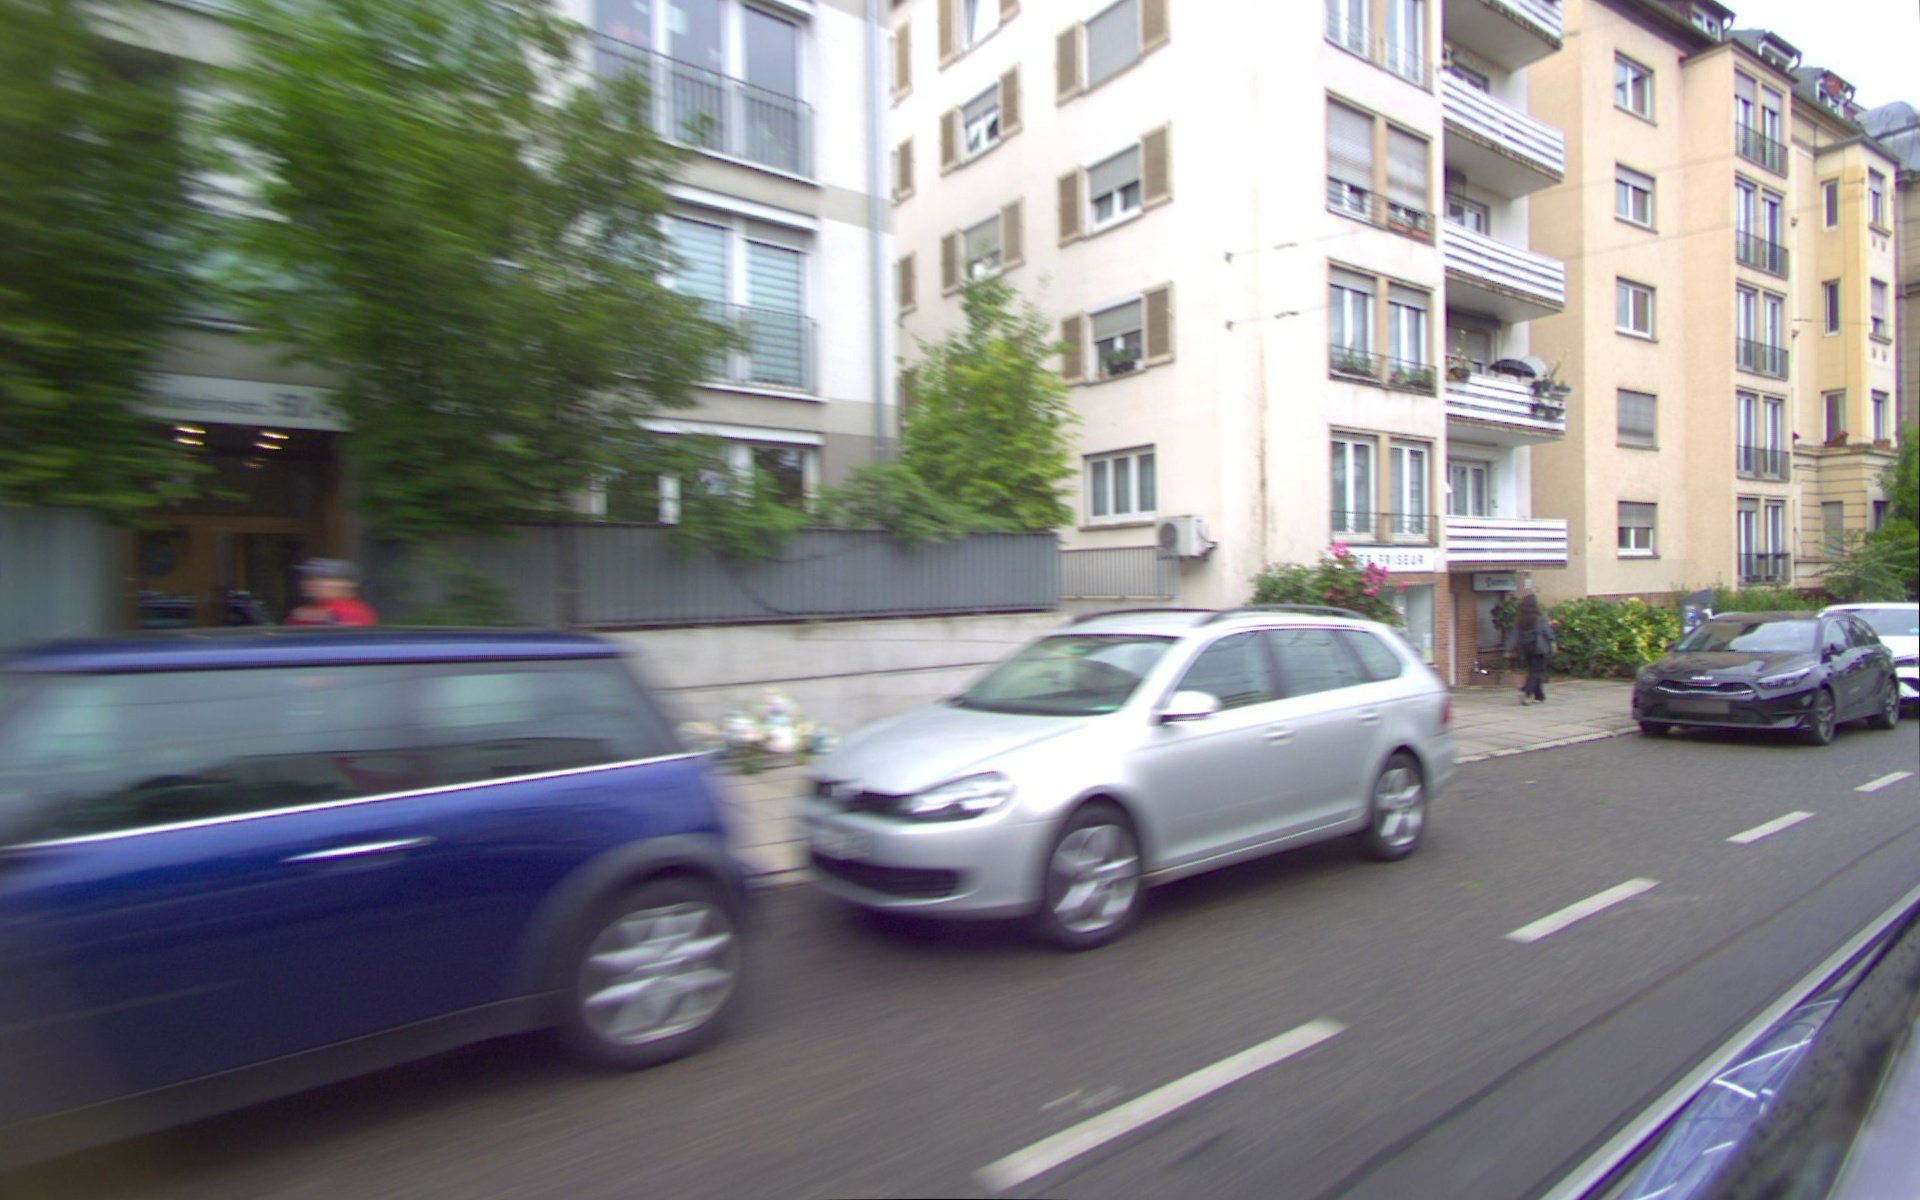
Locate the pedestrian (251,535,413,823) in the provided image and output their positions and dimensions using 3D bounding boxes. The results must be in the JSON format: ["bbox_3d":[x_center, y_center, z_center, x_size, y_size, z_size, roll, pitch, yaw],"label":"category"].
[{"bbox_3d":[-3.724,0.434,6.024,0.575,1.606,0.566,1,0,19],"label":"pedestrian"}]

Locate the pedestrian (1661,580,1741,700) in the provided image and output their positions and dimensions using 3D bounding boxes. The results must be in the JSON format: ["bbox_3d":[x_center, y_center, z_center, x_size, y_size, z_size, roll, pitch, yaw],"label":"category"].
[{"bbox_3d":[11.107,0.579,15.177,0.652,1.734,0.718,1,2,-33],"label":"pedestrian"}]

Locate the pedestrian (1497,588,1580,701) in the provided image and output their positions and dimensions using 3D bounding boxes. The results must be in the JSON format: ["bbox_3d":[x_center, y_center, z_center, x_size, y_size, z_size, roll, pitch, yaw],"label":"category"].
[{"bbox_3d":[8.480,0.629,14.833,0.897,1.588,0.668,1,2,-33],"label":"pedestrian"}]

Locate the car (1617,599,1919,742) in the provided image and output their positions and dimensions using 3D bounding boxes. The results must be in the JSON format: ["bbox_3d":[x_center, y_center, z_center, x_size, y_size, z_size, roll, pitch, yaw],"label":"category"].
[{"bbox_3d":[9.930,0.754,12.314,4.024,1.471,1.800,0,-2,-34],"label":"car"}]

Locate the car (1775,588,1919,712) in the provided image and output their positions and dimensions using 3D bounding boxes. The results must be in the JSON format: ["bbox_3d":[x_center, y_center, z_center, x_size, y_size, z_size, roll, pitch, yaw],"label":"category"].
[{"bbox_3d":[13.900,0.687,15.113,3.796,1.643,1.799,0,-2,-37],"label":"car"}]

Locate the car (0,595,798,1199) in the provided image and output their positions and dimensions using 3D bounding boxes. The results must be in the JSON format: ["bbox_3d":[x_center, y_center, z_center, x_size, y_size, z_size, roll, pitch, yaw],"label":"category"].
[{"bbox_3d":[-2.402,0.723,3.055,3.451,1.442,1.599,1,-2,-39],"label":"car"}]

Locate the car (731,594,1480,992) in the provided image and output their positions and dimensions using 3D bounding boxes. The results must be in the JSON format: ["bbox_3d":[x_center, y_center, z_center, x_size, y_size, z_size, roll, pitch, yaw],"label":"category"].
[{"bbox_3d":[1.059,0.760,5.797,4.308,1.486,1.722,1,-1,-37],"label":"car"}]
